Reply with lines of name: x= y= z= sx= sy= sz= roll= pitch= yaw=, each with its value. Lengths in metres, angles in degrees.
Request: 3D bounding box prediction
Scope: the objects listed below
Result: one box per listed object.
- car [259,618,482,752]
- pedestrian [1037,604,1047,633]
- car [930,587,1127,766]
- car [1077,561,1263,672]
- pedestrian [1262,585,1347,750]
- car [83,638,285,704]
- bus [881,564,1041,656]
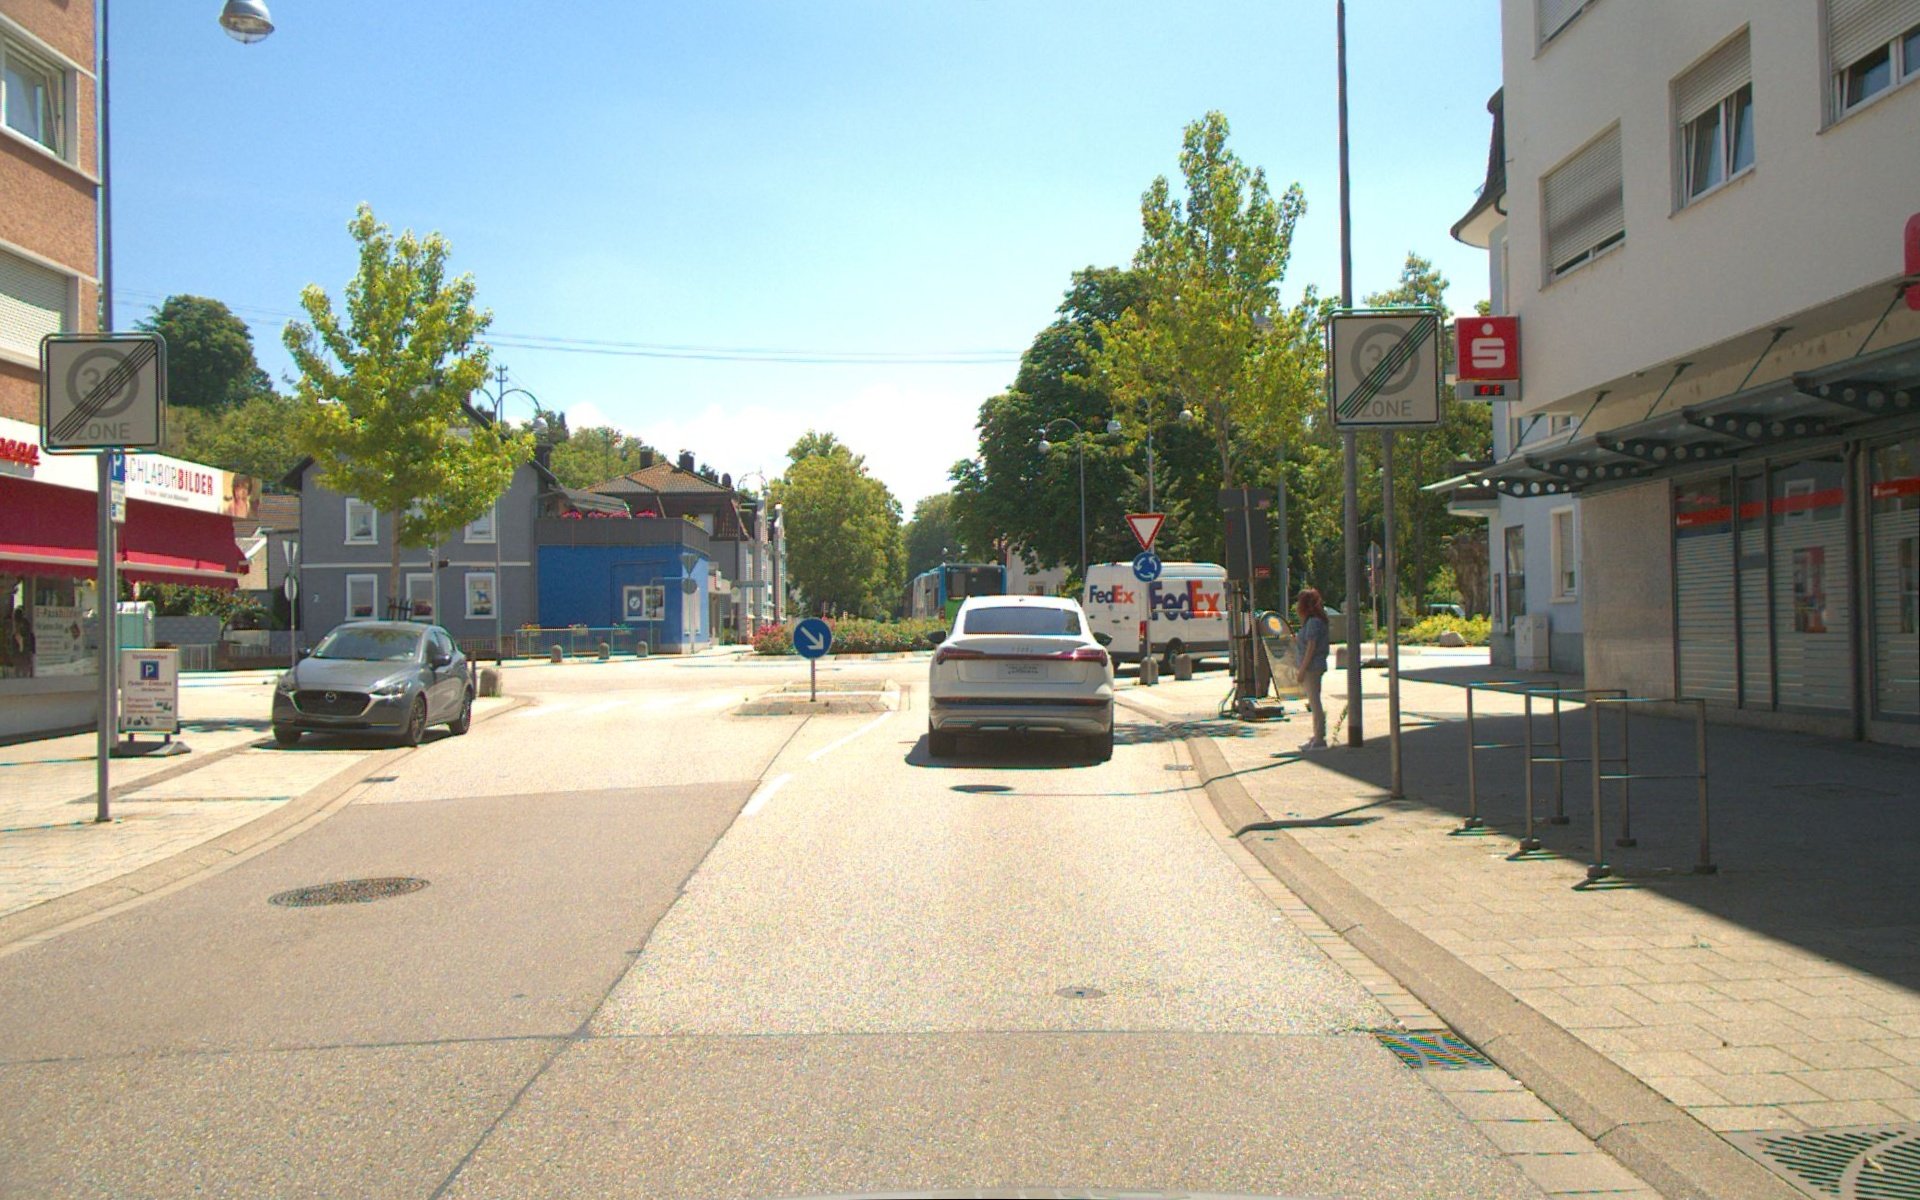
car: x=-7.426 y=1.007 z=21.240 sx=1.634 sy=1.512 sz=4.057 roll=2 pitch=-1 yaw=-4
pedestrian: x=4.644 y=1.047 z=93.844 sx=0.492 sy=1.679 sz=0.579 roll=-1 pitch=-1 yaw=-6
car: x=0.644 y=0.743 z=17.934 sx=1.859 sy=1.691 sz=4.409 roll=0 pitch=0 yaw=0
car: x=5.232 y=0.352 z=40.508 sx=1.962 sy=2.524 sz=5.458 roll=1 pitch=1 yaw=38
pedestrian: x=3.505 y=0.679 z=16.873 sx=0.717 sy=1.638 sz=0.559 roll=-1 pitch=-1 yaw=1
car: x=-19.667 y=1.784 z=42.088 sx=4.350 sy=1.483 sz=1.762 roll=-1 pitch=0 yaw=-15
bus: x=-0.376 y=0.510 z=67.924 sx=3.638 sy=3.227 sz=18.026 roll=1 pitch=-1 yaw=-9
